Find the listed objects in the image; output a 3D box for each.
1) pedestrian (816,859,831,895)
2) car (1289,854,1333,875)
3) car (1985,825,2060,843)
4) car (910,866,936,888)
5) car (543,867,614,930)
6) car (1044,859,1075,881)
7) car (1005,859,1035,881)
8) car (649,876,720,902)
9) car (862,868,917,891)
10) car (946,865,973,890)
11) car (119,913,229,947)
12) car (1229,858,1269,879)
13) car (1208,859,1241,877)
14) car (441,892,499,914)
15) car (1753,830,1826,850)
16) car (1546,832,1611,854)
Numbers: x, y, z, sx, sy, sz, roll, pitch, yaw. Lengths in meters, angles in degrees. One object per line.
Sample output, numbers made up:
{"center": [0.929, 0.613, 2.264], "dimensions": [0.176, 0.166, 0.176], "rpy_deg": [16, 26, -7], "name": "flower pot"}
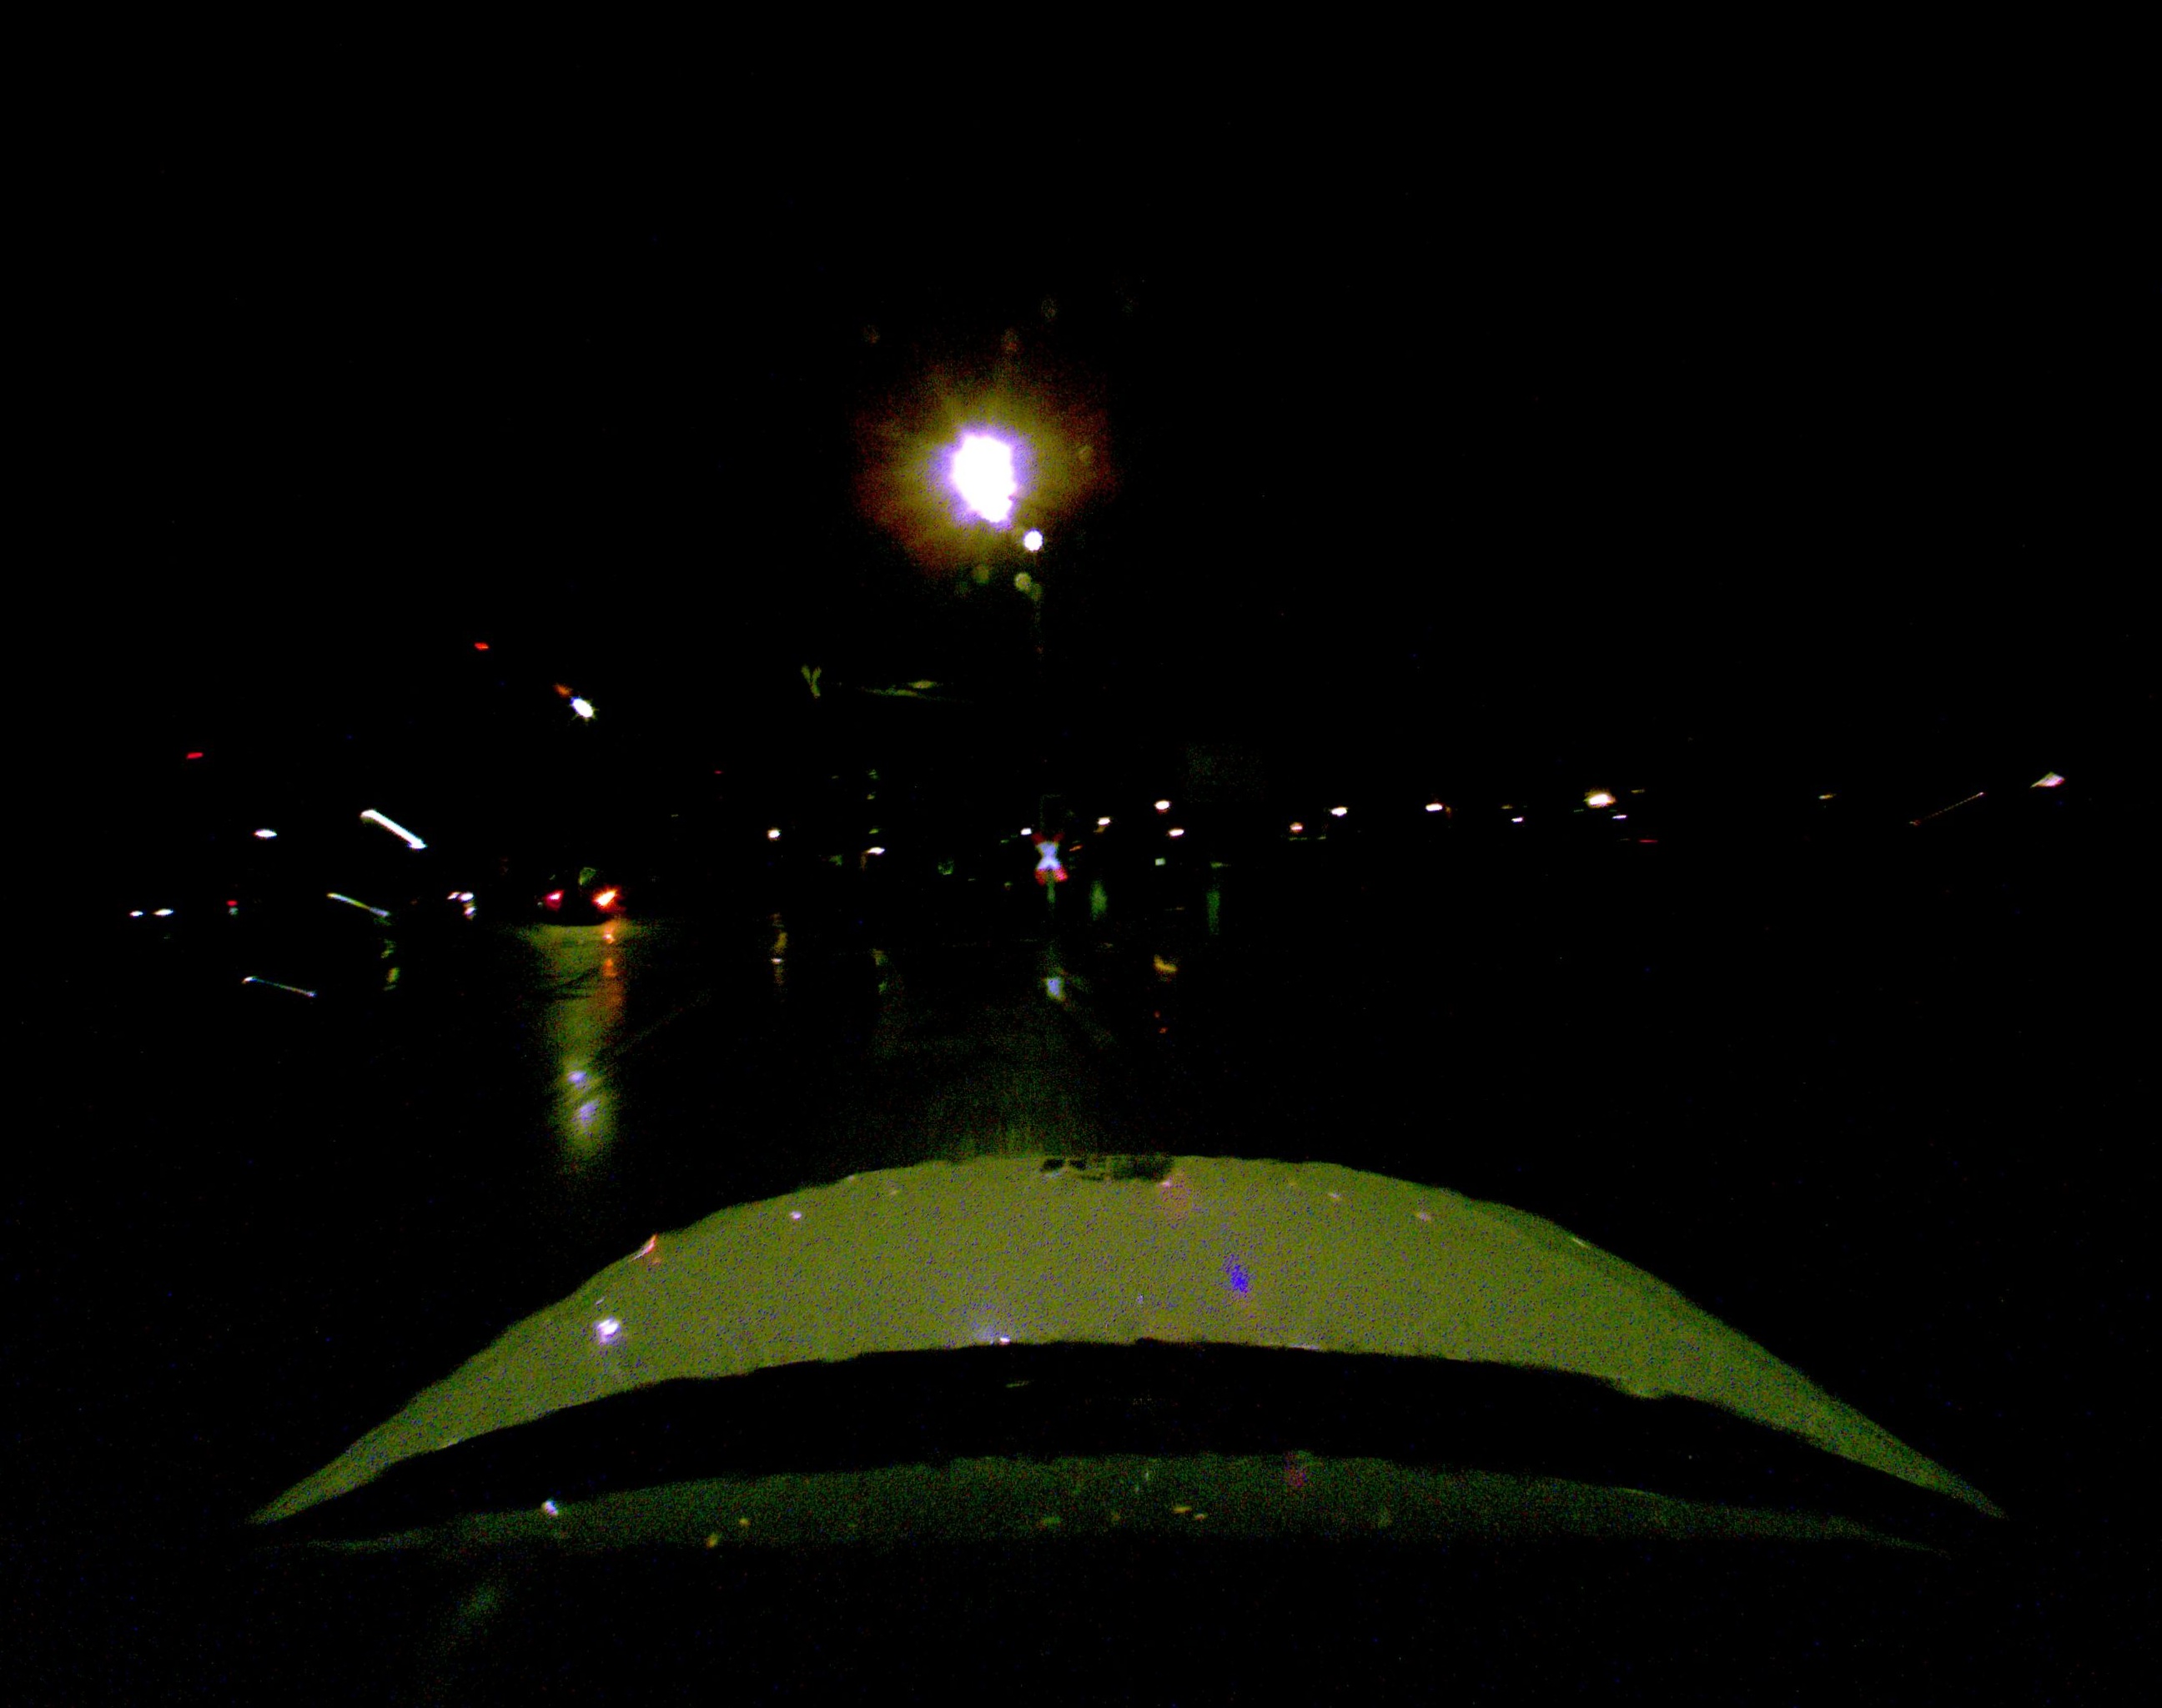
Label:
{"center": [-13.941, 1.251, 44.054], "dimensions": [0.655, 1.902, 0.722], "rpy_deg": [-1, -2, -27], "name": "pedestrian"}
{"center": [17.857, 0.855, 63.397], "dimensions": [1.717, 1.536, 3.897], "rpy_deg": [-1, -1, -10], "name": "car"}
{"center": [85.023, -1.775, 73.623], "dimensions": [1.717, 1.374, 4.134], "rpy_deg": [-1, -1, -10], "name": "car"}
{"center": [-11.308, 1.659, 58.372], "dimensions": [1.717, 1.497, 3.897], "rpy_deg": [-1, -1, -10], "name": "car"}
{"center": [-18.034, 1.546, 29.206], "dimensions": [2.007, 2.014, 4.510], "rpy_deg": [-1, -2, -33], "name": "car"}
{"center": [-1.621, 1.210, 59.897], "dimensions": [1.717, 1.536, 3.897], "rpy_deg": [-1, -1, -10], "name": "car"}
{"center": [-4.476, 1.179, 59.264], "dimensions": [1.717, 1.497, 3.897], "rpy_deg": [-1, -1, -10], "name": "car"}
{"center": [-27.562, 2.429, 56.731], "dimensions": [3.976, 1.684, 1.917], "rpy_deg": [-1, -2, -2], "name": "car"}
{"center": [-15.000, 2.013, 63.963], "dimensions": [4.053, 1.682, 1.787], "rpy_deg": [-1, -2, -9], "name": "car"}
{"center": [-8.747, 1.677, 58.303], "dimensions": [1.717, 1.497, 3.896], "rpy_deg": [-2, -4, -10], "name": "car"}
{"center": [-52.815, 4.392, 47.516], "dimensions": [1.847, 1.640, 3.899], "rpy_deg": [-2, -1, 8], "name": "car"}
{"center": [12.884, 1.128, 62.641], "dimensions": [1.717, 1.536, 3.897], "rpy_deg": [-1, -1, -10], "name": "car"}
{"center": [13.092, 1.276, 74.416], "dimensions": [1.717, 1.536, 3.897], "rpy_deg": [-1, -1, -10], "name": "car"}
{"center": [-53.614, 4.268, 71.563], "dimensions": [1.866, 1.758, 4.391], "rpy_deg": [-1, -1, -1], "name": "car"}
{"center": [63.336, -1.260, 72.914], "dimensions": [1.716, 1.536, 4.977], "rpy_deg": [-1, -1, -10], "name": "car"}
{"center": [41.718, -0.890, 68.441], "dimensions": [1.716, 1.536, 4.977], "rpy_deg": [-1, -1, -10], "name": "car"}
